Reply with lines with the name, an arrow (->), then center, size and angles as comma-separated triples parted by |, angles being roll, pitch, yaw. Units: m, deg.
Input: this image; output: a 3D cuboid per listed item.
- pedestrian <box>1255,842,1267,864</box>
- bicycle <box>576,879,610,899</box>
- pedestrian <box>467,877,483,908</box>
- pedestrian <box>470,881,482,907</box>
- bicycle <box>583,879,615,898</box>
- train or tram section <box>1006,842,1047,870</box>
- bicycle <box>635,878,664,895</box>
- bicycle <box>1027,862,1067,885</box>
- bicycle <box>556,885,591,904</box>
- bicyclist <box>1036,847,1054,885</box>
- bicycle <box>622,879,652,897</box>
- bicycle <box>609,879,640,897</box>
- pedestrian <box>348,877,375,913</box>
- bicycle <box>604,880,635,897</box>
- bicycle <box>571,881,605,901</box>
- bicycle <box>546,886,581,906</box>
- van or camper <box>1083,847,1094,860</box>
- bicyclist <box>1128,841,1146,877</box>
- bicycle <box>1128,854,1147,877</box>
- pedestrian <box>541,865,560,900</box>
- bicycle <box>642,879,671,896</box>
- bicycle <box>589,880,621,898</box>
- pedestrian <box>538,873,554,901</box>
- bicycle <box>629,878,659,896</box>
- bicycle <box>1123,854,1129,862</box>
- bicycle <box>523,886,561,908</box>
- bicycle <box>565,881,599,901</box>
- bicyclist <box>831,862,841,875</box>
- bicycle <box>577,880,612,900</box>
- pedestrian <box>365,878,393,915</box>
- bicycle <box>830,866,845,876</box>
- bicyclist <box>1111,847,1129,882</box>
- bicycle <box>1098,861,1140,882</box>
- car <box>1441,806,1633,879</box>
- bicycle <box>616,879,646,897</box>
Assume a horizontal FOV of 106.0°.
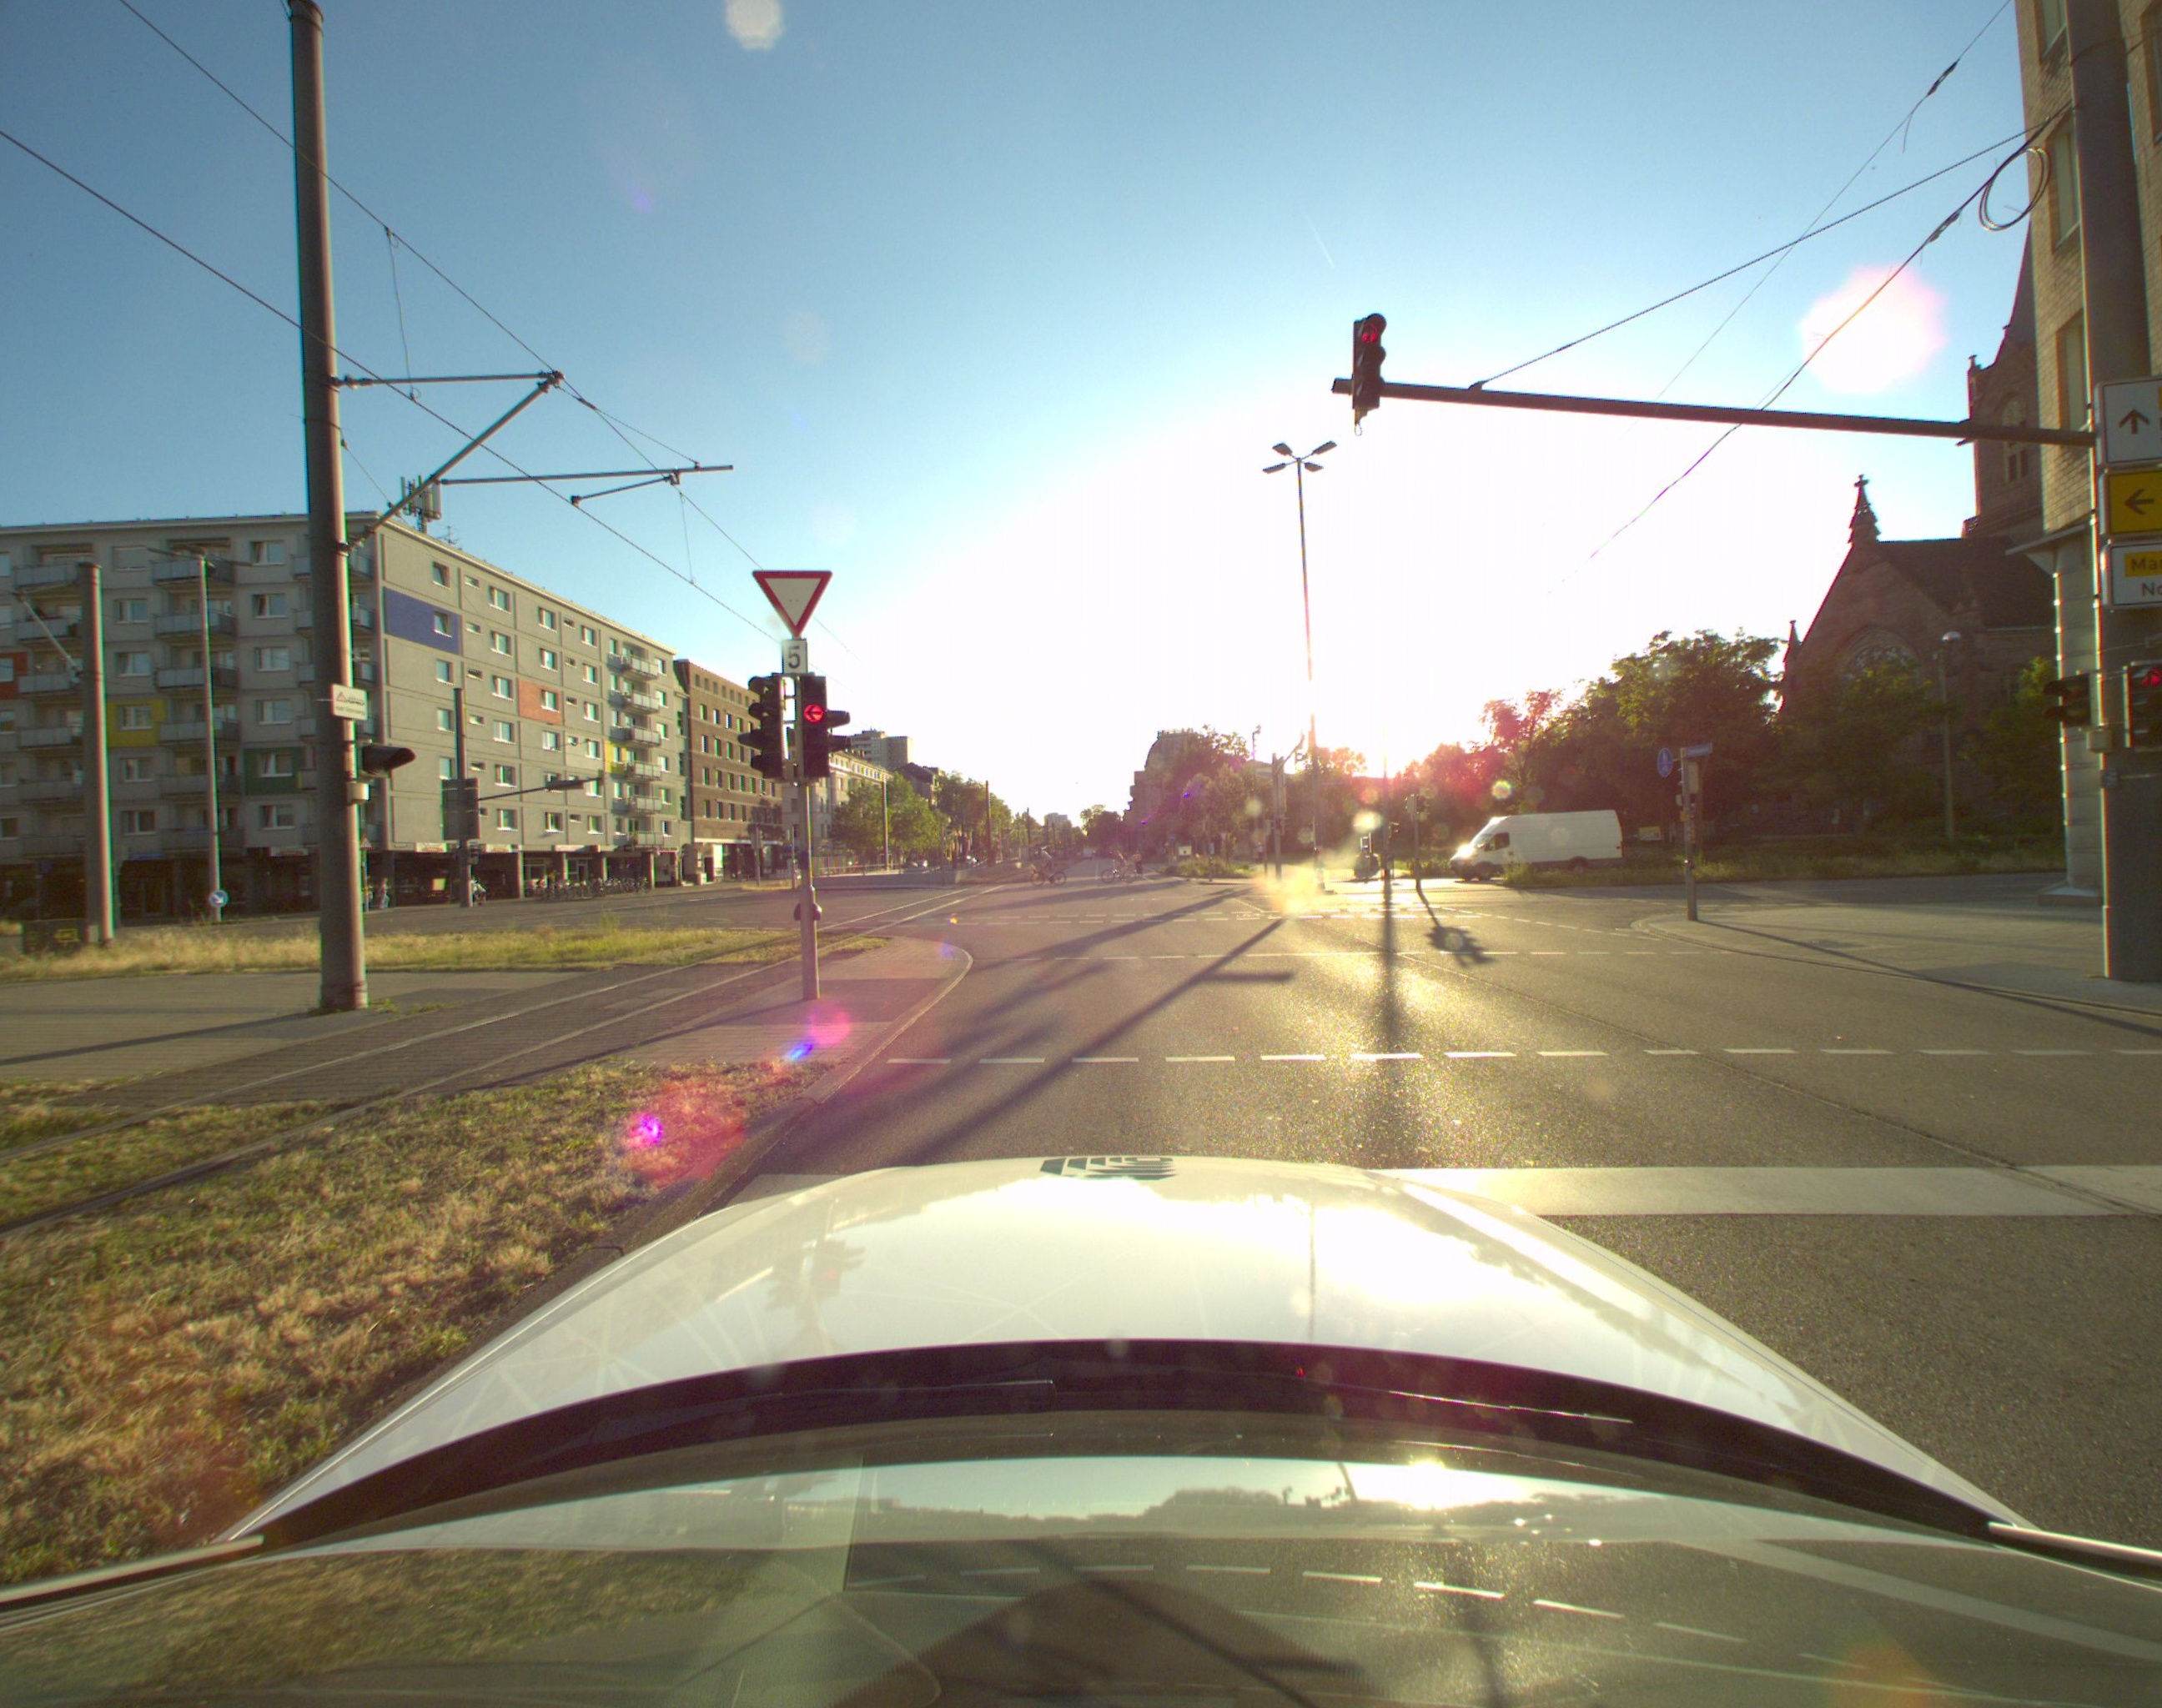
pedestrian -> 15.132, -0.083, 68.482 | 0.826, 1.803, 0.814 | -2, 0, 17
bicycle -> -31.799, 2.281, 53.088 | 1.824, 1.160, 0.640 | -2, 0, 1
pedestrian -> -32.483, 2.043, 43.676 | 0.575, 1.620, 0.598 | -2, 0, -29
pedestrian -> -32.847, 2.189, 44.215 | 0.383, 1.383, 0.392 | -2, 0, -26
bicycle -> -31.792, 2.253, 53.721 | 1.769, 1.159, 0.606 | -2, 0, 1
train or tram section -> -8.509, 0.292, 129.490 | 4.363, 3.849, 11.433 | -2, 2, 7
bicycle -> -30.934, 2.317, 58.410 | 1.683, 1.170, 0.749 | -2, 0, 3
bicycle -> -1.661, 0.961, 40.064 | 1.898, 1.075, 0.631 | -2, 0, -5
bicycle -> -31.458, 2.504, 50.475 | 1.750, 1.139, 0.600 | -2, 0, 2
bicyclist -> -1.767, 0.571, 40.042 | 0.791, 1.818, 0.645 | -2, 0, -5
bicycle -> -30.989, 2.356, 56.879 | 1.683, 1.153, 0.706 | -2, 0, 3
bicycle -> -31.112, 2.329, 55.554 | 1.754, 1.119, 0.568 | -2, 0, 2
pedestrian -> -38.086, 2.164, 43.125 | 0.826, 1.813, 0.718 | -1, -1, -9
bicycle -> -31.149, 2.333, 54.968 | 1.748, 1.117, 0.552 | -2, 0, 2
bicycle -> -31.245, 2.323, 51.643 | 1.762, 1.182, 0.568 | -2, 0, 1
bicycle -> -31.676, 2.581, 49.852 | 1.770, 1.142, 0.608 | -2, 0, 1
van or camper -> 1.606, -0.008, 181.025 | 2.441, 2.770, 5.600 | -2, 0, 0
bicyclist -> 3.657, 0.308, 53.145 | 1.078, 2.276, 0.986 | -2, 0, 1
bicycle -> 3.680, 0.740, 53.266 | 1.094, 1.399, 2.833 | -2, 0, 2
pedestrian -> -34.237, 1.837, 52.563 | 0.599, 2.178, 0.792 | -2, 0, 1
bicycle -> -30.805, 2.398, 59.137 | 1.683, 1.144, 0.697 | -2, 0, 3
bicycle -> -31.806, 2.355, 54.378 | 1.764, 1.136, 0.606 | -2, 0, 2
pedestrian -> -33.169, 2.030, 50.500 | 0.576, 1.684, 0.547 | -2, 0, 6
bicycle -> -30.929, 2.355, 57.632 | 1.683, 1.179, 0.749 | -2, 0, 3
bicycle -> 6.676, 0.555, 120.777 | 0.921, 1.111, 2.334 | -2, 0, 2
bicycle -> -32.283, 2.562, 48.794 | 1.788, 1.208, 0.638 | -2, 0, 0
bicycle -> -31.271, 2.310, 51.047 | 1.759, 1.167, 0.540 | -2, 0, 2
bicyclist -> -26.074, 1.538, 86.741 | 0.495, 1.426, 0.862 | -3, 0, 25
bicycle -> -31.235, 2.313, 52.295 | 1.782, 1.191, 0.652 | -2, 0, 1
pedestrian -> -36.801, 2.213, 42.723 | 0.785, 1.841, 0.733 | -2, 0, -7
bicycle -> -26.001, 1.786, 86.888 | 0.503, 0.944, 1.678 | -2, 0, 26
bicyclist -> 2.068, 0.537, 42.881 | 0.873, 1.818, 0.538 | -2, 0, 1
bicycle -> 1.989, 0.922, 42.875 | 2.157, 1.083, 0.539 | -1, -1, 0
car -> 19.568, -0.489, 35.172 | 6.981, 2.827, 2.095 | -2, 0, 3
bicycle -> -31.067, 2.342, 56.187 | 1.719, 1.124, 0.634 | -2, -1, 3
